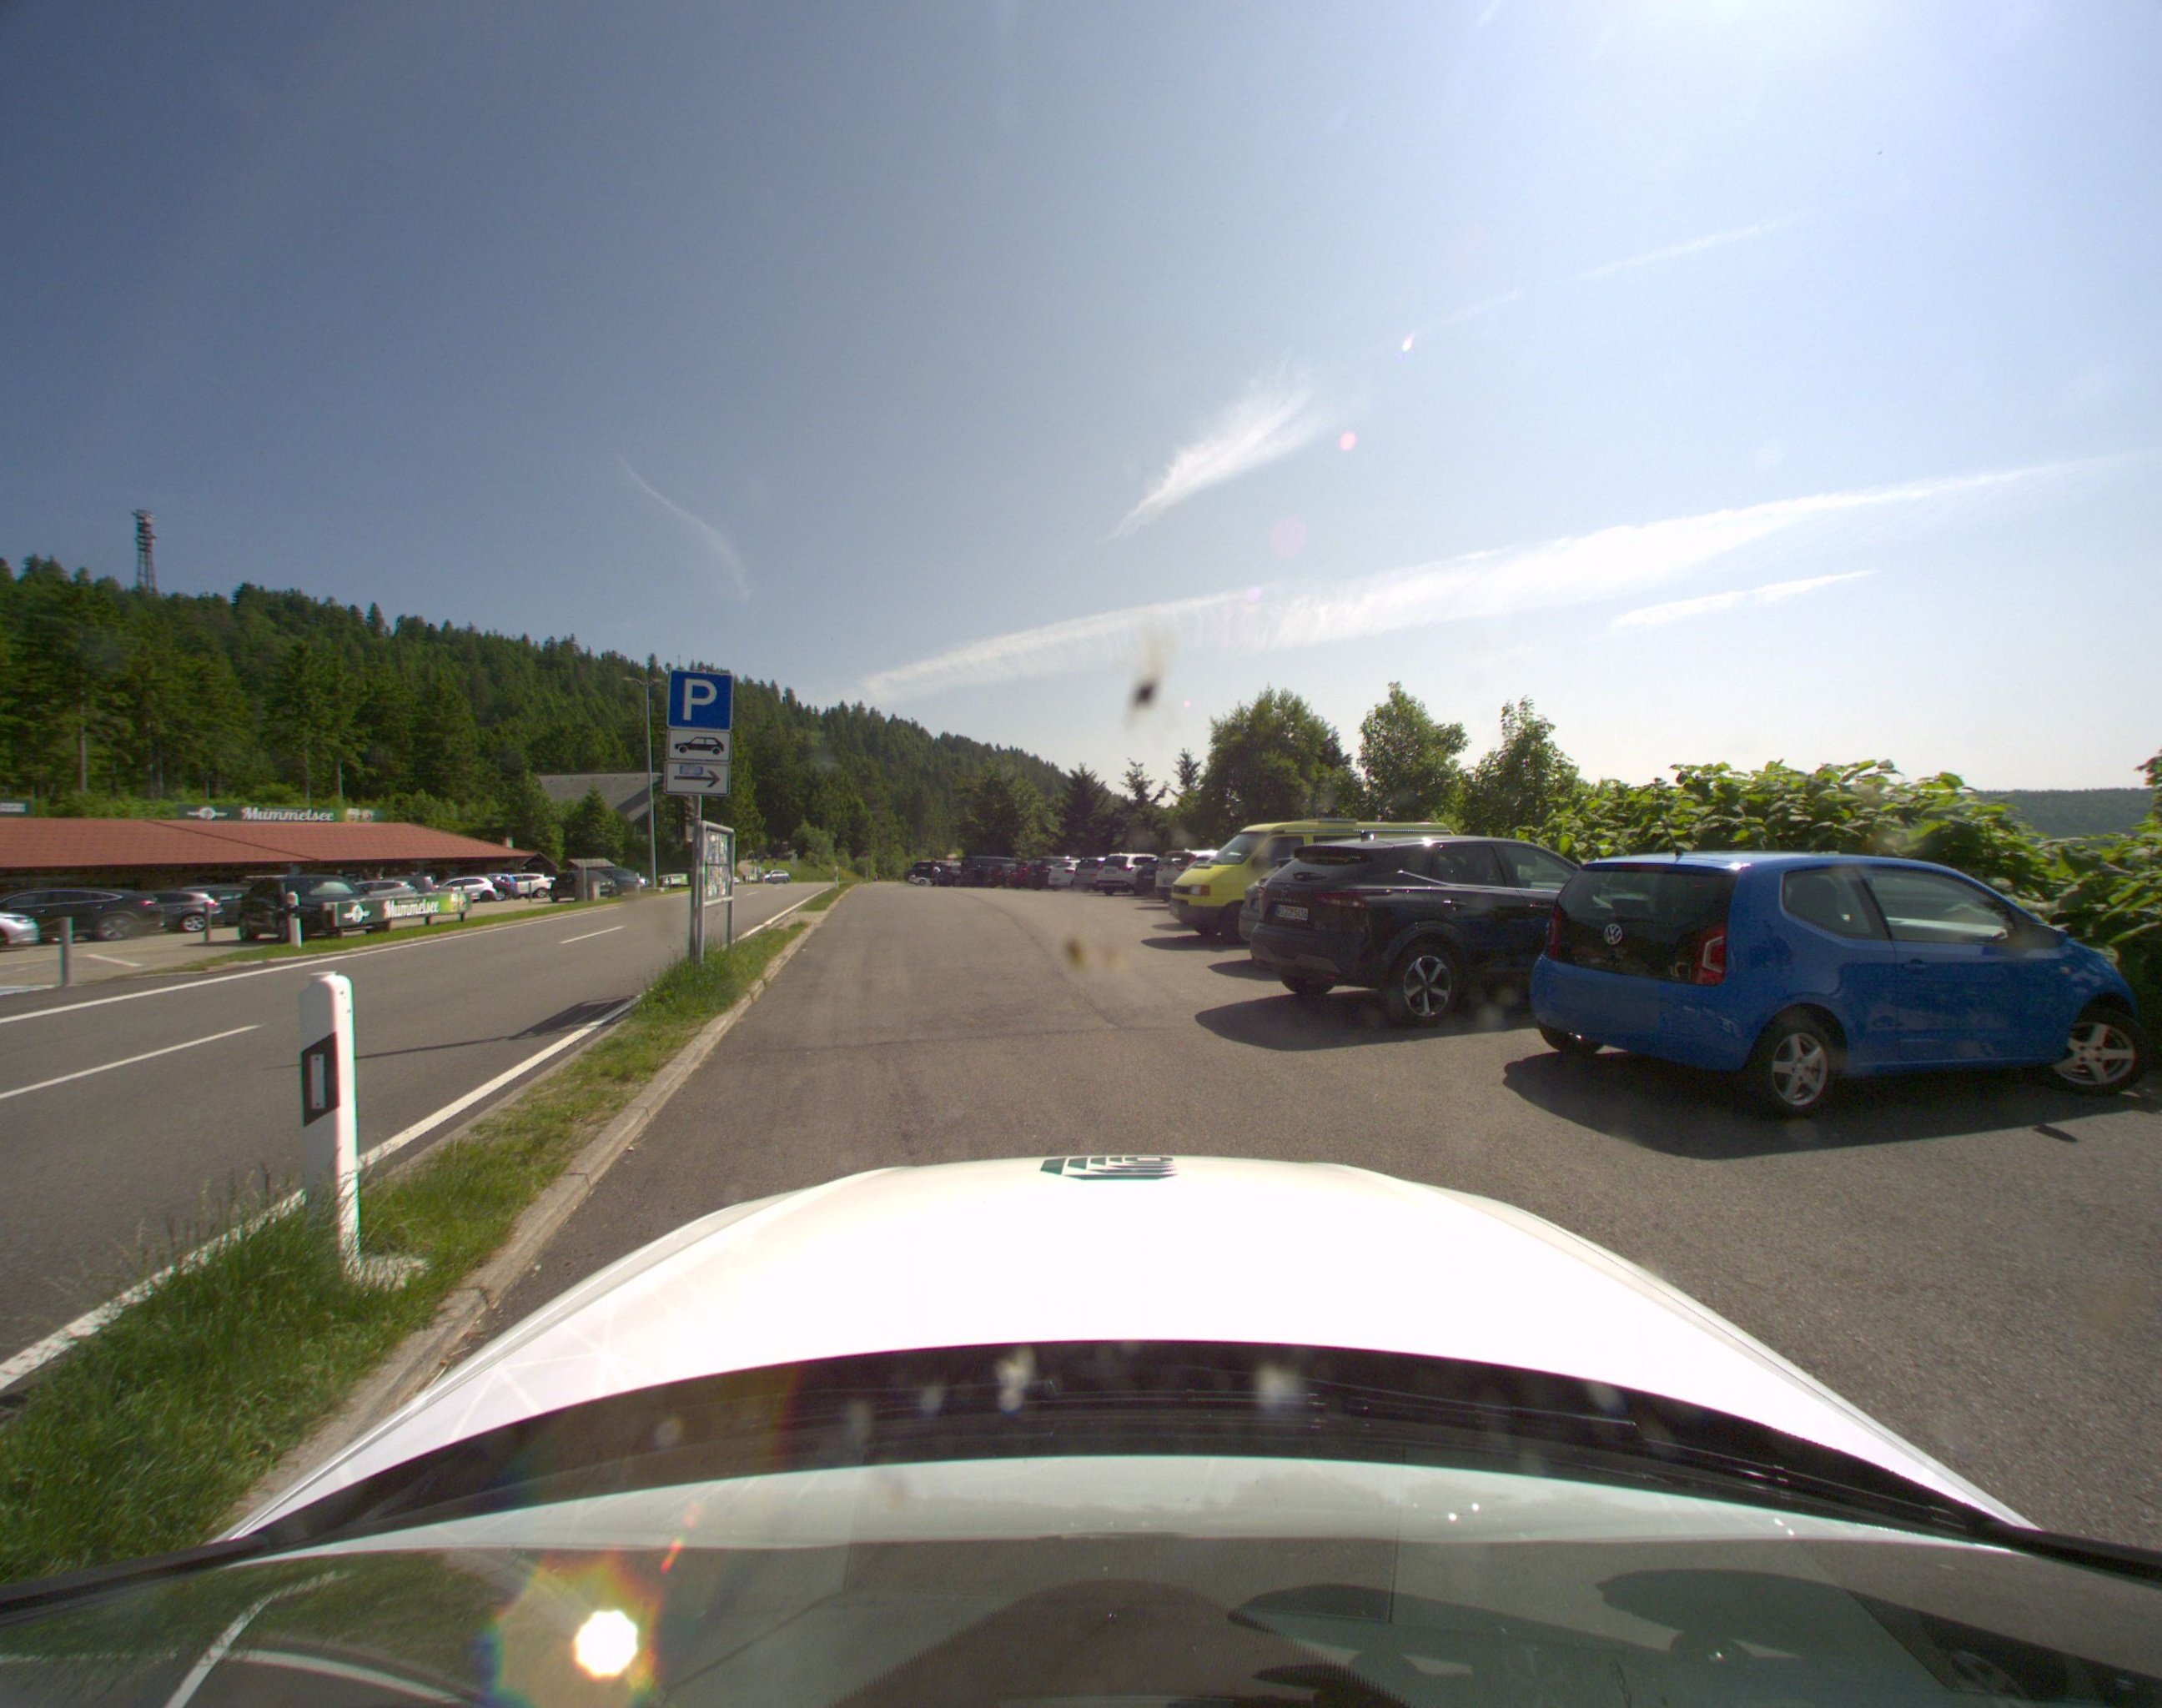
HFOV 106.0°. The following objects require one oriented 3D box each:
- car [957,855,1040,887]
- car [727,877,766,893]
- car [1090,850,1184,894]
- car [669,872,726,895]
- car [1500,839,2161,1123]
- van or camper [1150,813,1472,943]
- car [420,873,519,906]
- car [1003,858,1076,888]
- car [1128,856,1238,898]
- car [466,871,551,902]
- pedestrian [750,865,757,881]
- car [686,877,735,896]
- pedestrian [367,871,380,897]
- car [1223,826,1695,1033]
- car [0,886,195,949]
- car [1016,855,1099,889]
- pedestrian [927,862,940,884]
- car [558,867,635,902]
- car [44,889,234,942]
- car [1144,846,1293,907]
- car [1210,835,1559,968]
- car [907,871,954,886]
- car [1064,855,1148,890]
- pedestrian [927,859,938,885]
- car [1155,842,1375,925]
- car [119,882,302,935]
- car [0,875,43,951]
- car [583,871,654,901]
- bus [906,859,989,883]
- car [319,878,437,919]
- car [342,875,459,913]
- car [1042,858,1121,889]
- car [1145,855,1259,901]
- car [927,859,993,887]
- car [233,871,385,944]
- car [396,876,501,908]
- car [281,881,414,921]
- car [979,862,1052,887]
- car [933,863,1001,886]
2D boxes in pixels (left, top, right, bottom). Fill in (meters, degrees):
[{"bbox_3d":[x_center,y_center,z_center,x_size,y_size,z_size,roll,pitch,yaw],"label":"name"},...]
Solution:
[{"bbox_3d":[-5.107,1.082,50.572,4.790,1.880,1.946,2,-2,-33],"label":"car"},{"bbox_3d":[-34.356,3.179,83.754,1.565,1.428,3.393,-2,1,28],"label":"car"},{"bbox_3d":[2.392,0.737,33.861,1.839,1.695,4.253,0,-1,38],"label":"car"},{"bbox_3d":[-30.478,2.358,64.729,4.158,1.634,1.799,-2,-2,25],"label":"car"},{"bbox_3d":[4.964,0.683,5.517,3.585,1.495,1.641,1,0,-13],"label":"car"},{"bbox_3d":[3.930,0.411,14.128,5.096,2.013,1.874,1,0,-14],"label":"van or camper"},{"bbox_3d":[-35.182,2.021,46.958,1.974,1.574,4.026,-3,1,31],"label":"car"},{"bbox_3d":[-2.264,1.053,45.440,1.839,1.590,4.025,0,-2,38],"label":"car"},{"bbox_3d":[3.860,0.857,30.425,4.073,1.461,1.872,2,-2,-43],"label":"car"},{"bbox_3d":[-36.982,2.106,52.685,1.754,1.672,4.056,-4,0,30],"label":"car"},{"bbox_3d":[-38.083,2.229,94.748,0.655,1.799,0.638,-1,0,-21],"label":"pedestrian"},{"bbox_3d":[-31.955,2.802,70.207,3.919,1.441,1.755,-3,0,29],"label":"car"},{"bbox_3d":[-50.556,2.150,58.175,0.540,1.874,0.531,-2,-1,29],"label":"pedestrian"},{"bbox_3d":[3.615,0.580,7.930,3.999,1.613,1.904,0,0,-20],"label":"car"},{"bbox_3d":[-28.654,1.786,23.371,1.889,1.430,4.026,-2,1,30],"label":"car"},{"bbox_3d":[-1.170,0.944,42.256,1.965,1.695,4.300,0,-2,38],"label":"car"},{"bbox_3d":[-9.804,1.233,54.239,0.773,1.402,0.667,-2,1,-8],"label":"pedestrian"},{"bbox_3d":[-23.797,1.504,39.969,3.948,1.552,1.795,-2,1,37],"label":"car"},{"bbox_3d":[-29.841,1.901,25.922,1.567,1.321,3.662,-2,1,29],"label":"car"},{"bbox_3d":[4.079,0.681,23.921,4.201,1.650,1.872,2,-2,-34],"label":"car"},{"bbox_3d":[3.994,0.555,10.971,4.152,1.589,1.698,0,0,-11],"label":"car"},{"bbox_3d":[-15.501,2.562,83.795,4.481,1.299,1.567,4,-3,-30],"label":"car"},{"bbox_3d":[1.186,0.857,37.298,1.797,1.549,4.025,0,-2,38],"label":"car"},{"bbox_3d":[-10.249,1.246,56.263,0.576,1.761,0.633,1,-2,1],"label":"pedestrian"},{"bbox_3d":[4.016,0.581,17.879,4.361,1.487,1.802,-3,1,-17],"label":"car"},{"bbox_3d":[-30.690,1.856,28.851,1.694,1.486,4.106,-2,1,31],"label":"car"},{"bbox_3d":[-28.499,1.557,19.344,1.811,1.863,4.560,-2,1,33],"label":"car"},{"bbox_3d":[-26.107,1.786,45.930,4.007,1.567,1.751,-2,0,32],"label":"car"},{"bbox_3d":[-21.578,2.709,132.118,12.809,3.578,2.984,-1,1,2],"label":"bus"},{"bbox_3d":[-32.801,2.035,38.092,1.713,1.588,3.757,-2,1,31],"label":"car"},{"bbox_3d":[-33.910,1.956,40.689,1.875,1.545,4.026,-2,1,32],"label":"car"},{"bbox_3d":[0.090,0.969,40.169,1.745,1.476,4.025,0,-2,38],"label":"car"},{"bbox_3d":[4.192,0.813,27.932,3.823,1.459,1.644,2,-1,-37],"label":"car"},{"bbox_3d":[-8.270,1.329,55.928,4.020,1.662,1.976,5,-4,-41],"label":"car"},{"bbox_3d":[-19.133,1.279,20.150,4.138,1.540,1.819,-2,1,34],"label":"car"},{"bbox_3d":[-34.217,2.022,44.141,1.883,1.420,4.026,-2,1,31],"label":"car"},{"bbox_3d":[-31.874,1.997,35.463,1.789,1.371,4.026,-2,1,38],"label":"car"},{"bbox_3d":[-3.792,1.201,47.578,4.021,1.415,1.724,2,-2,-41],"label":"car"},{"bbox_3d":[-7.420,1.348,53.078,4.016,1.443,1.820,2,-2,-35],"label":"car"}]
